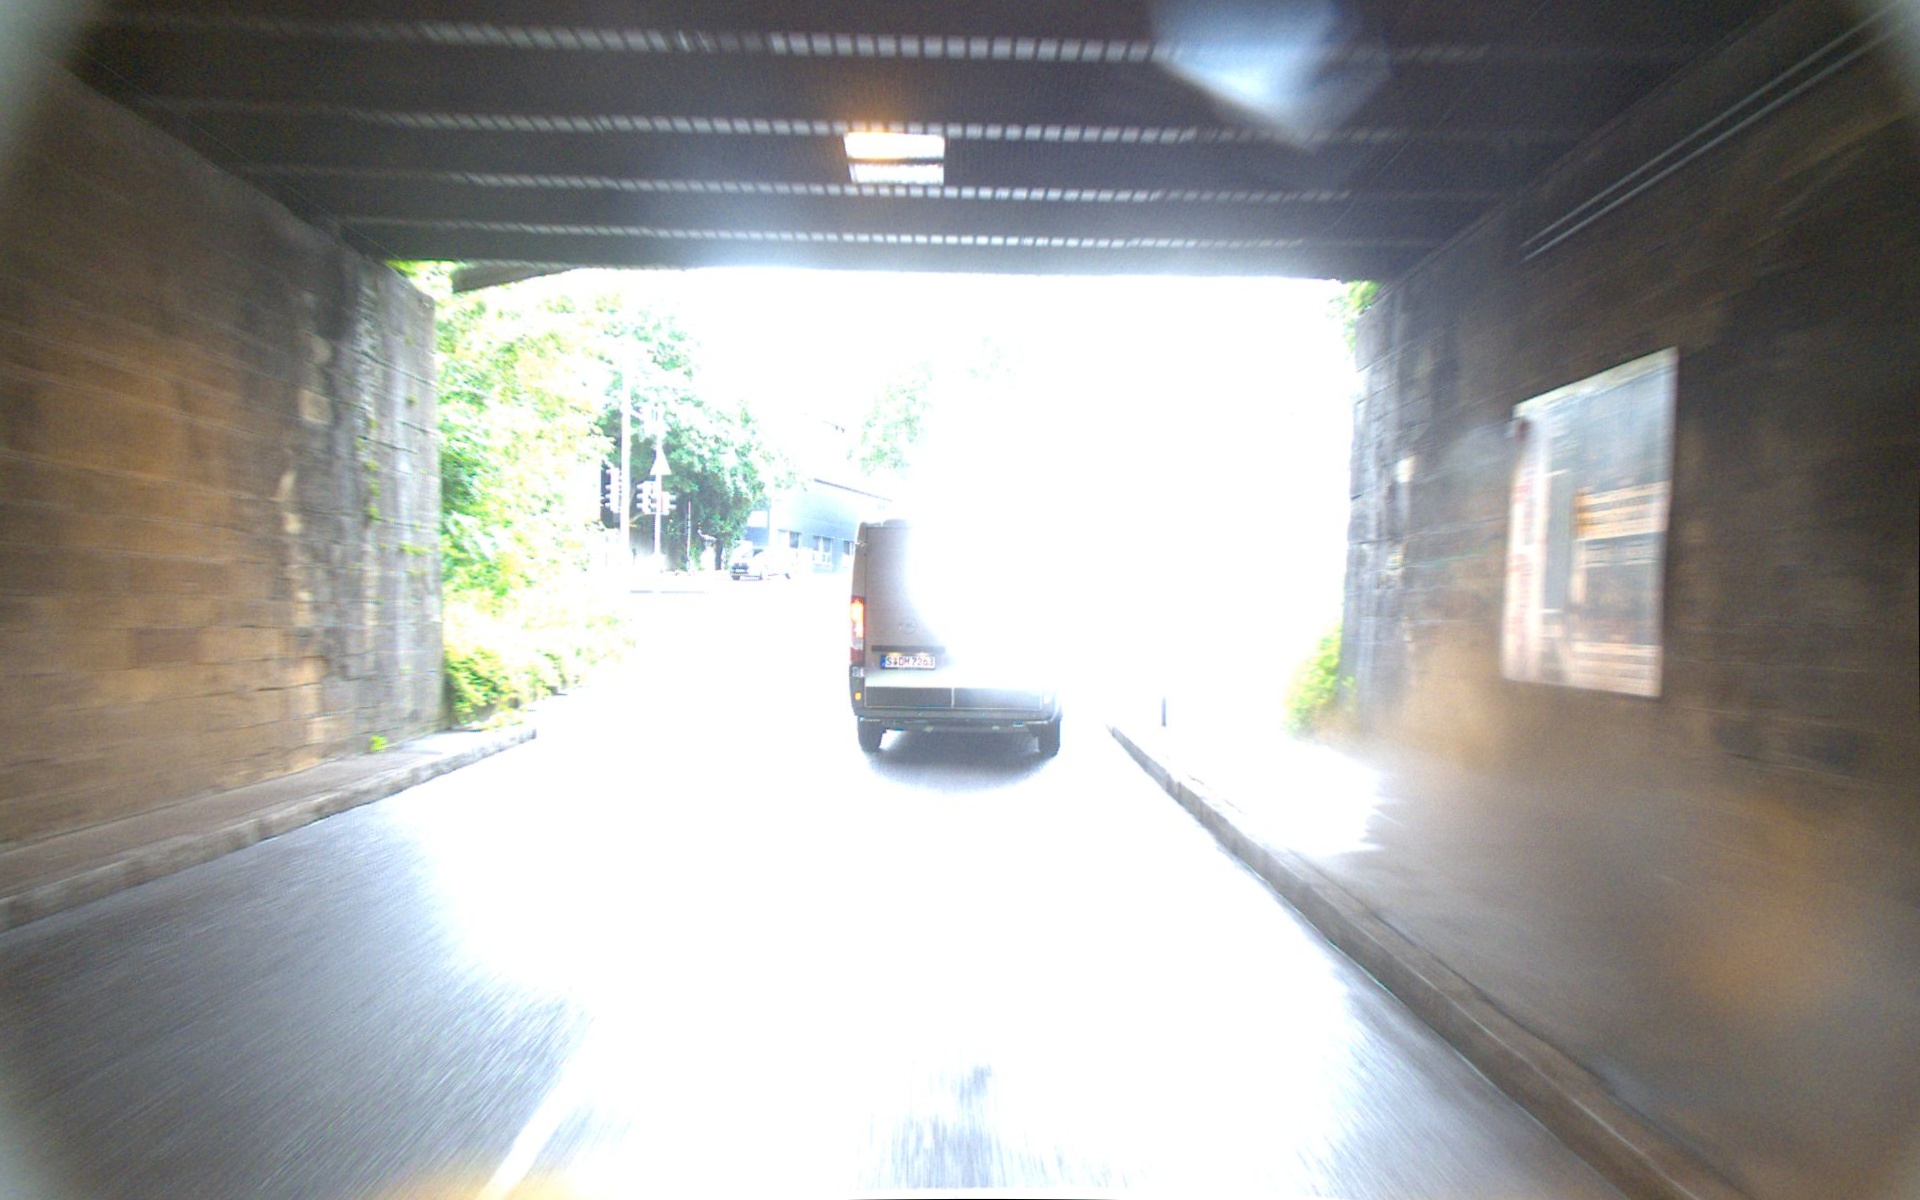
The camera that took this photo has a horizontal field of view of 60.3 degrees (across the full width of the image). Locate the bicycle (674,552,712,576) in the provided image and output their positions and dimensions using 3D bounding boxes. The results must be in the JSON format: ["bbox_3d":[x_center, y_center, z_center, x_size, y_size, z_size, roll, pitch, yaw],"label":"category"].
[{"bbox_3d":[-13.662,-1.846,84.708,0.908,1.148,2.291,1,0,20],"label":"bicycle"}]

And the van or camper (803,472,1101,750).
[{"bbox_3d":[-0.016,0.084,17.325,2.642,2.459,4.904,1,0,1],"label":"van or camper"}]

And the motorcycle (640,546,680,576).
[{"bbox_3d":[-15.362,-1.995,84.684,1.948,1.447,0.658,1,0,-5],"label":"motorcycle"}]

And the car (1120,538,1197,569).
[{"bbox_3d":[10.521,-2.465,87.536,3.902,1.566,2.002,1,0,10],"label":"car"}]

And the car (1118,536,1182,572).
[{"bbox_3d":[8.441,-2.043,73.895,1.956,1.512,3.994,1,0,-7],"label":"car"}]

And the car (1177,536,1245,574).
[{"bbox_3d":[11.074,-1.982,73.345,1.956,1.566,3.994,1,0,-7],"label":"car"}]

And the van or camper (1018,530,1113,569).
[{"bbox_3d":[5.930,-2.793,92.594,5.196,2.049,2.079,1,0,5],"label":"van or camper"}]

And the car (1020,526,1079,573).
[{"bbox_3d":[3.940,-2.210,73.414,1.956,1.982,3.994,1,0,-7],"label":"car"}]

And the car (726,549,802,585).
[{"bbox_3d":[-9.824,-1.663,83.287,1.954,1.718,3.997,1,0,25],"label":"car"}]

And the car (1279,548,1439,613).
[{"bbox_3d":[9.523,-0.422,39.288,4.070,1.463,1.813,0,0,-44],"label":"car"}]

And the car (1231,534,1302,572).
[{"bbox_3d":[13.537,-2.057,73.279,1.956,1.566,3.994,1,0,-7],"label":"car"}]
